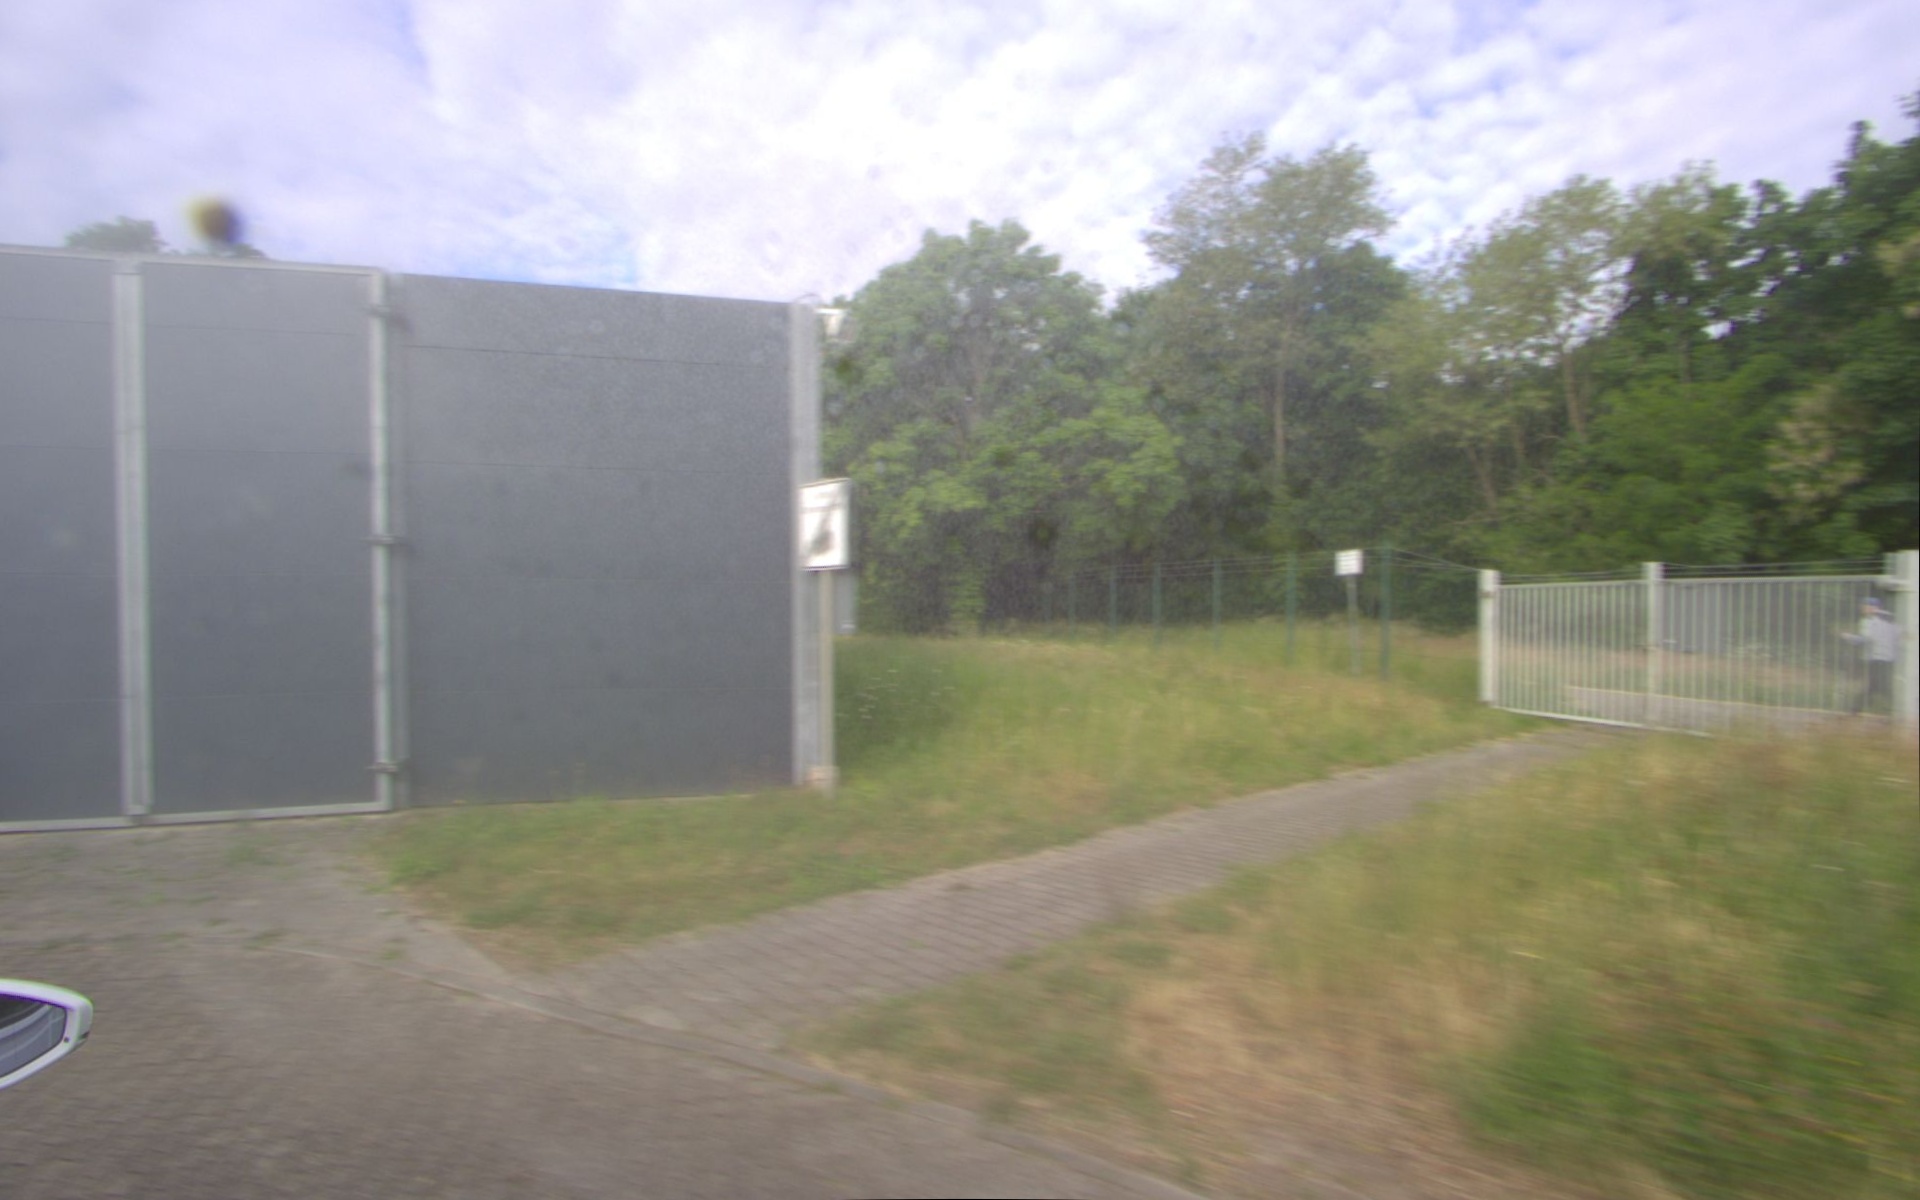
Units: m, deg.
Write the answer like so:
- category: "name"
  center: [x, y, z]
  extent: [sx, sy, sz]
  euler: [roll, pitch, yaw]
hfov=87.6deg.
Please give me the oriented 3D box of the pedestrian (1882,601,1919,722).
- category: "pedestrian"
  center: [13.128, 0.818, 13.318]
  extent: [0.723, 1.595, 1.034]
  euler: [-1, 1, -11]

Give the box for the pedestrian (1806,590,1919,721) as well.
- category: "pedestrian"
  center: [12.324, 0.717, 13.554]
  extent: [0.828, 1.705, 1.037]
  euler: [-1, 1, -8]
